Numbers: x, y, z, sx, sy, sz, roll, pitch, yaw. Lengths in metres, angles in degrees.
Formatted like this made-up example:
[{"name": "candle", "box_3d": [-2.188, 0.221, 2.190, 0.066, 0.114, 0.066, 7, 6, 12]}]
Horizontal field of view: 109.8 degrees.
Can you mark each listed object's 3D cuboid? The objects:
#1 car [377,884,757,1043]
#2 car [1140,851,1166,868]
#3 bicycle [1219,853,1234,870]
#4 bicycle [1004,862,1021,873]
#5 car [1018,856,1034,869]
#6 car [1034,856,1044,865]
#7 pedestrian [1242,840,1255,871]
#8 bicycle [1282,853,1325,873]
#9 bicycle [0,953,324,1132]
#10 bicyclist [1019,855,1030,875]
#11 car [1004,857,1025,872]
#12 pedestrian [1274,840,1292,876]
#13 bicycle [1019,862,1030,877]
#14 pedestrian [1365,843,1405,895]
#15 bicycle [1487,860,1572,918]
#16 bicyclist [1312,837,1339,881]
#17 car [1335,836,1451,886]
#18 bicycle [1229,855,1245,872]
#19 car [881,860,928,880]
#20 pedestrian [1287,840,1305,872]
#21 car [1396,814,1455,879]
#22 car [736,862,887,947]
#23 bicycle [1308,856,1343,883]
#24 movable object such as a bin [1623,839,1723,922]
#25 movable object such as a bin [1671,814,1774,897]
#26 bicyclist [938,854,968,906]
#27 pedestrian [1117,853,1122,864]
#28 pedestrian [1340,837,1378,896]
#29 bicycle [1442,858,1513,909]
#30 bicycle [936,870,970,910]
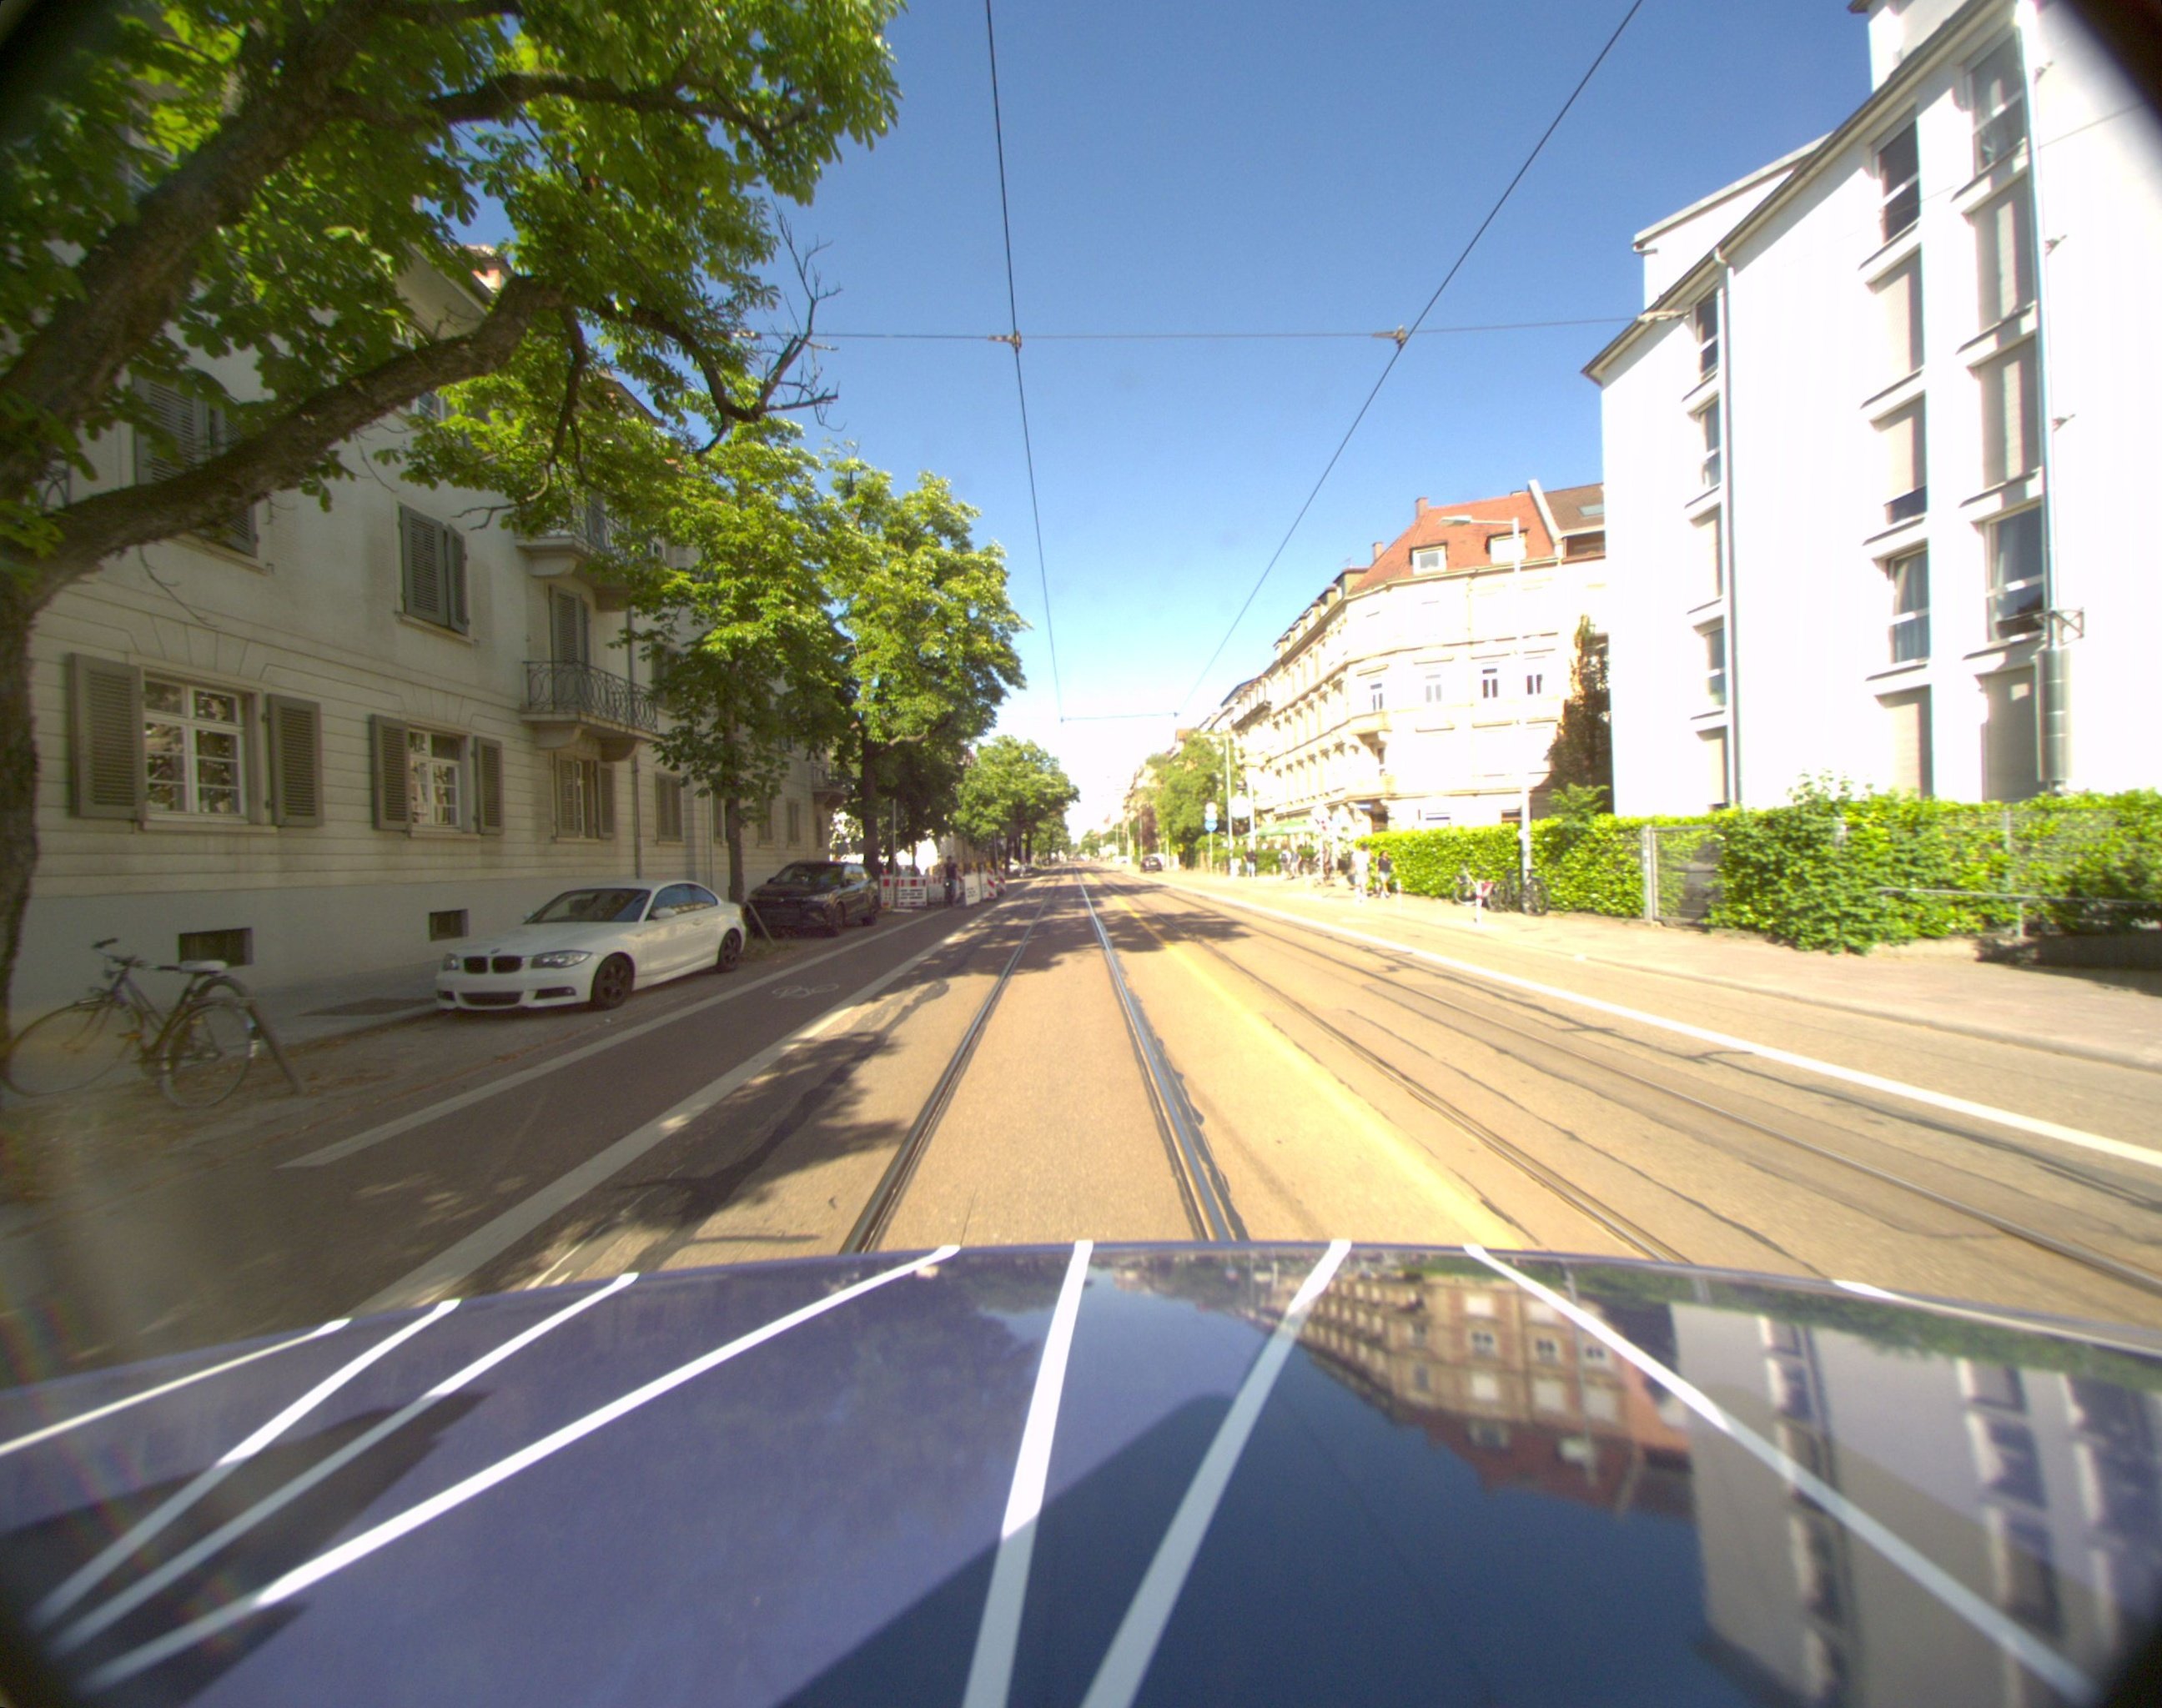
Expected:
[{"name": "car", "box_3d": [-5.906, 1.144, 9.525, 1.728, 1.374, 4.356, 0, 0, 1]}, {"name": "car", "box_3d": [6.599, 0.470, 70.101, 1.869, 1.567, 4.588, 0, 0, -1]}, {"name": "bicycle", "box_3d": [9.209, 0.462, 48.183, 0.515, 1.032, 2.223, -2, 0, 0]}, {"name": "bicycle", "box_3d": [-6.440, 1.286, 71.237, 1.570, 0.974, 0.640, -1, 0, -9]}, {"name": "car", "box_3d": [-6.875, 1.033, 94.948, 1.824, 1.475, 4.748, -1, 0, -3]}, {"name": "car", "box_3d": [-7.127, 1.046, 129.405, 1.761, 1.458, 4.612, -1, 0, -3]}, {"name": "pedestrian", "box_3d": [9.451, 0.083, 42.855, 0.558, 1.771, 0.538, -2, 1, -4]}, {"name": "bicycle", "box_3d": [12.442, 0.482, 42.536, 2.244, 1.038, 0.876, -2, 2, 9]}, {"name": "bicycle", "box_3d": [-6.276, 1.236, 5.131, 1.623, 1.037, 0.685, 0, 1, 0]}, {"name": "bicyclist", "box_3d": [-4.472, 0.865, 60.357, 0.776, 1.505, 1.229, -2, 0, -3]}, {"name": "car", "box_3d": [-6.654, 1.035, 76.448, 1.705, 1.463, 4.213, -1, 0, 0]}, {"name": "pedestrian", "box_3d": [10.212, 0.192, 38.355, 0.692, 1.758, 0.867, -1, 1, 24]}, {"name": "bicycle", "box_3d": [-4.461, 1.228, 60.356, 0.776, 1.080, 2.058, -2, 0, -3]}, {"name": "pedestrian", "box_3d": [9.104, 0.440, 22.774, 0.756, 1.469, 0.956, -4, 0, 0]}, {"name": "bicycle", "box_3d": [9.531, 0.708, 16.234, 0.663, 1.083, 1.840, -5, 1, 0]}, {"name": "bicyclist", "box_3d": [10.490, 0.219, 32.610, 0.705, 1.843, 0.987, 0, 3, 43]}, {"name": "car", "box_3d": [12.020, 0.263, 29.482, 4.045, 1.797, 1.794, -1, 2, 20]}, {"name": "bicycle", "box_3d": [9.096, 0.531, 44.398, 0.528, 0.975, 1.777, -2, 0, 0]}, {"name": "car", "box_3d": [-14.855, 1.336, 63.889, 3.431, 1.530, 1.724, -2, 3, 27]}, {"name": "pedestrian", "box_3d": [11.450, 0.121, 40.435, 0.705, 1.645, 0.834, -1, 2, 31]}, {"name": "car", "box_3d": [16.244, -0.398, 36.016, 1.889, 2.825, 4.788, -1, 2, 16]}, {"name": "car", "box_3d": [-5.923, 1.017, 17.341, 1.815, 1.616, 4.583, 0, 0, 0]}, {"name": "bicycle", "box_3d": [10.511, 0.636, 32.661, 0.705, 1.049, 1.839, 0, 2, 43]}, {"name": "movable object such as a bin", "box_3d": [10.782, 0.464, 13.886, 0.809, 1.448, 1.258, -1, 0, -2]}, {"name": "movable object such as a bin", "box_3d": [11.726, 0.023, 13.934, 0.809, 1.448, 1.258, -1, 0, -2]}, {"name": "bicyclist", "box_3d": [-4.374, 0.872, 26.088, 0.763, 1.728, 1.046, -3, 1, -1]}, {"name": "pedestrian", "box_3d": [6.298, 0.770, 124.562, 0.809, 1.825, 0.754, -2, 1, 8]}, {"name": "pedestrian", "box_3d": [8.356, 0.371, 22.868, 0.756, 1.704, 0.808, -4, 1, 0]}, {"name": "bicycle", "box_3d": [9.500, 0.678, 18.284, 0.663, 1.083, 1.840, -5, 1, 0]}, {"name": "bicycle", "box_3d": [-4.359, 1.206, 26.082, 0.763, 1.235, 2.096, -3, 0, -1]}]
